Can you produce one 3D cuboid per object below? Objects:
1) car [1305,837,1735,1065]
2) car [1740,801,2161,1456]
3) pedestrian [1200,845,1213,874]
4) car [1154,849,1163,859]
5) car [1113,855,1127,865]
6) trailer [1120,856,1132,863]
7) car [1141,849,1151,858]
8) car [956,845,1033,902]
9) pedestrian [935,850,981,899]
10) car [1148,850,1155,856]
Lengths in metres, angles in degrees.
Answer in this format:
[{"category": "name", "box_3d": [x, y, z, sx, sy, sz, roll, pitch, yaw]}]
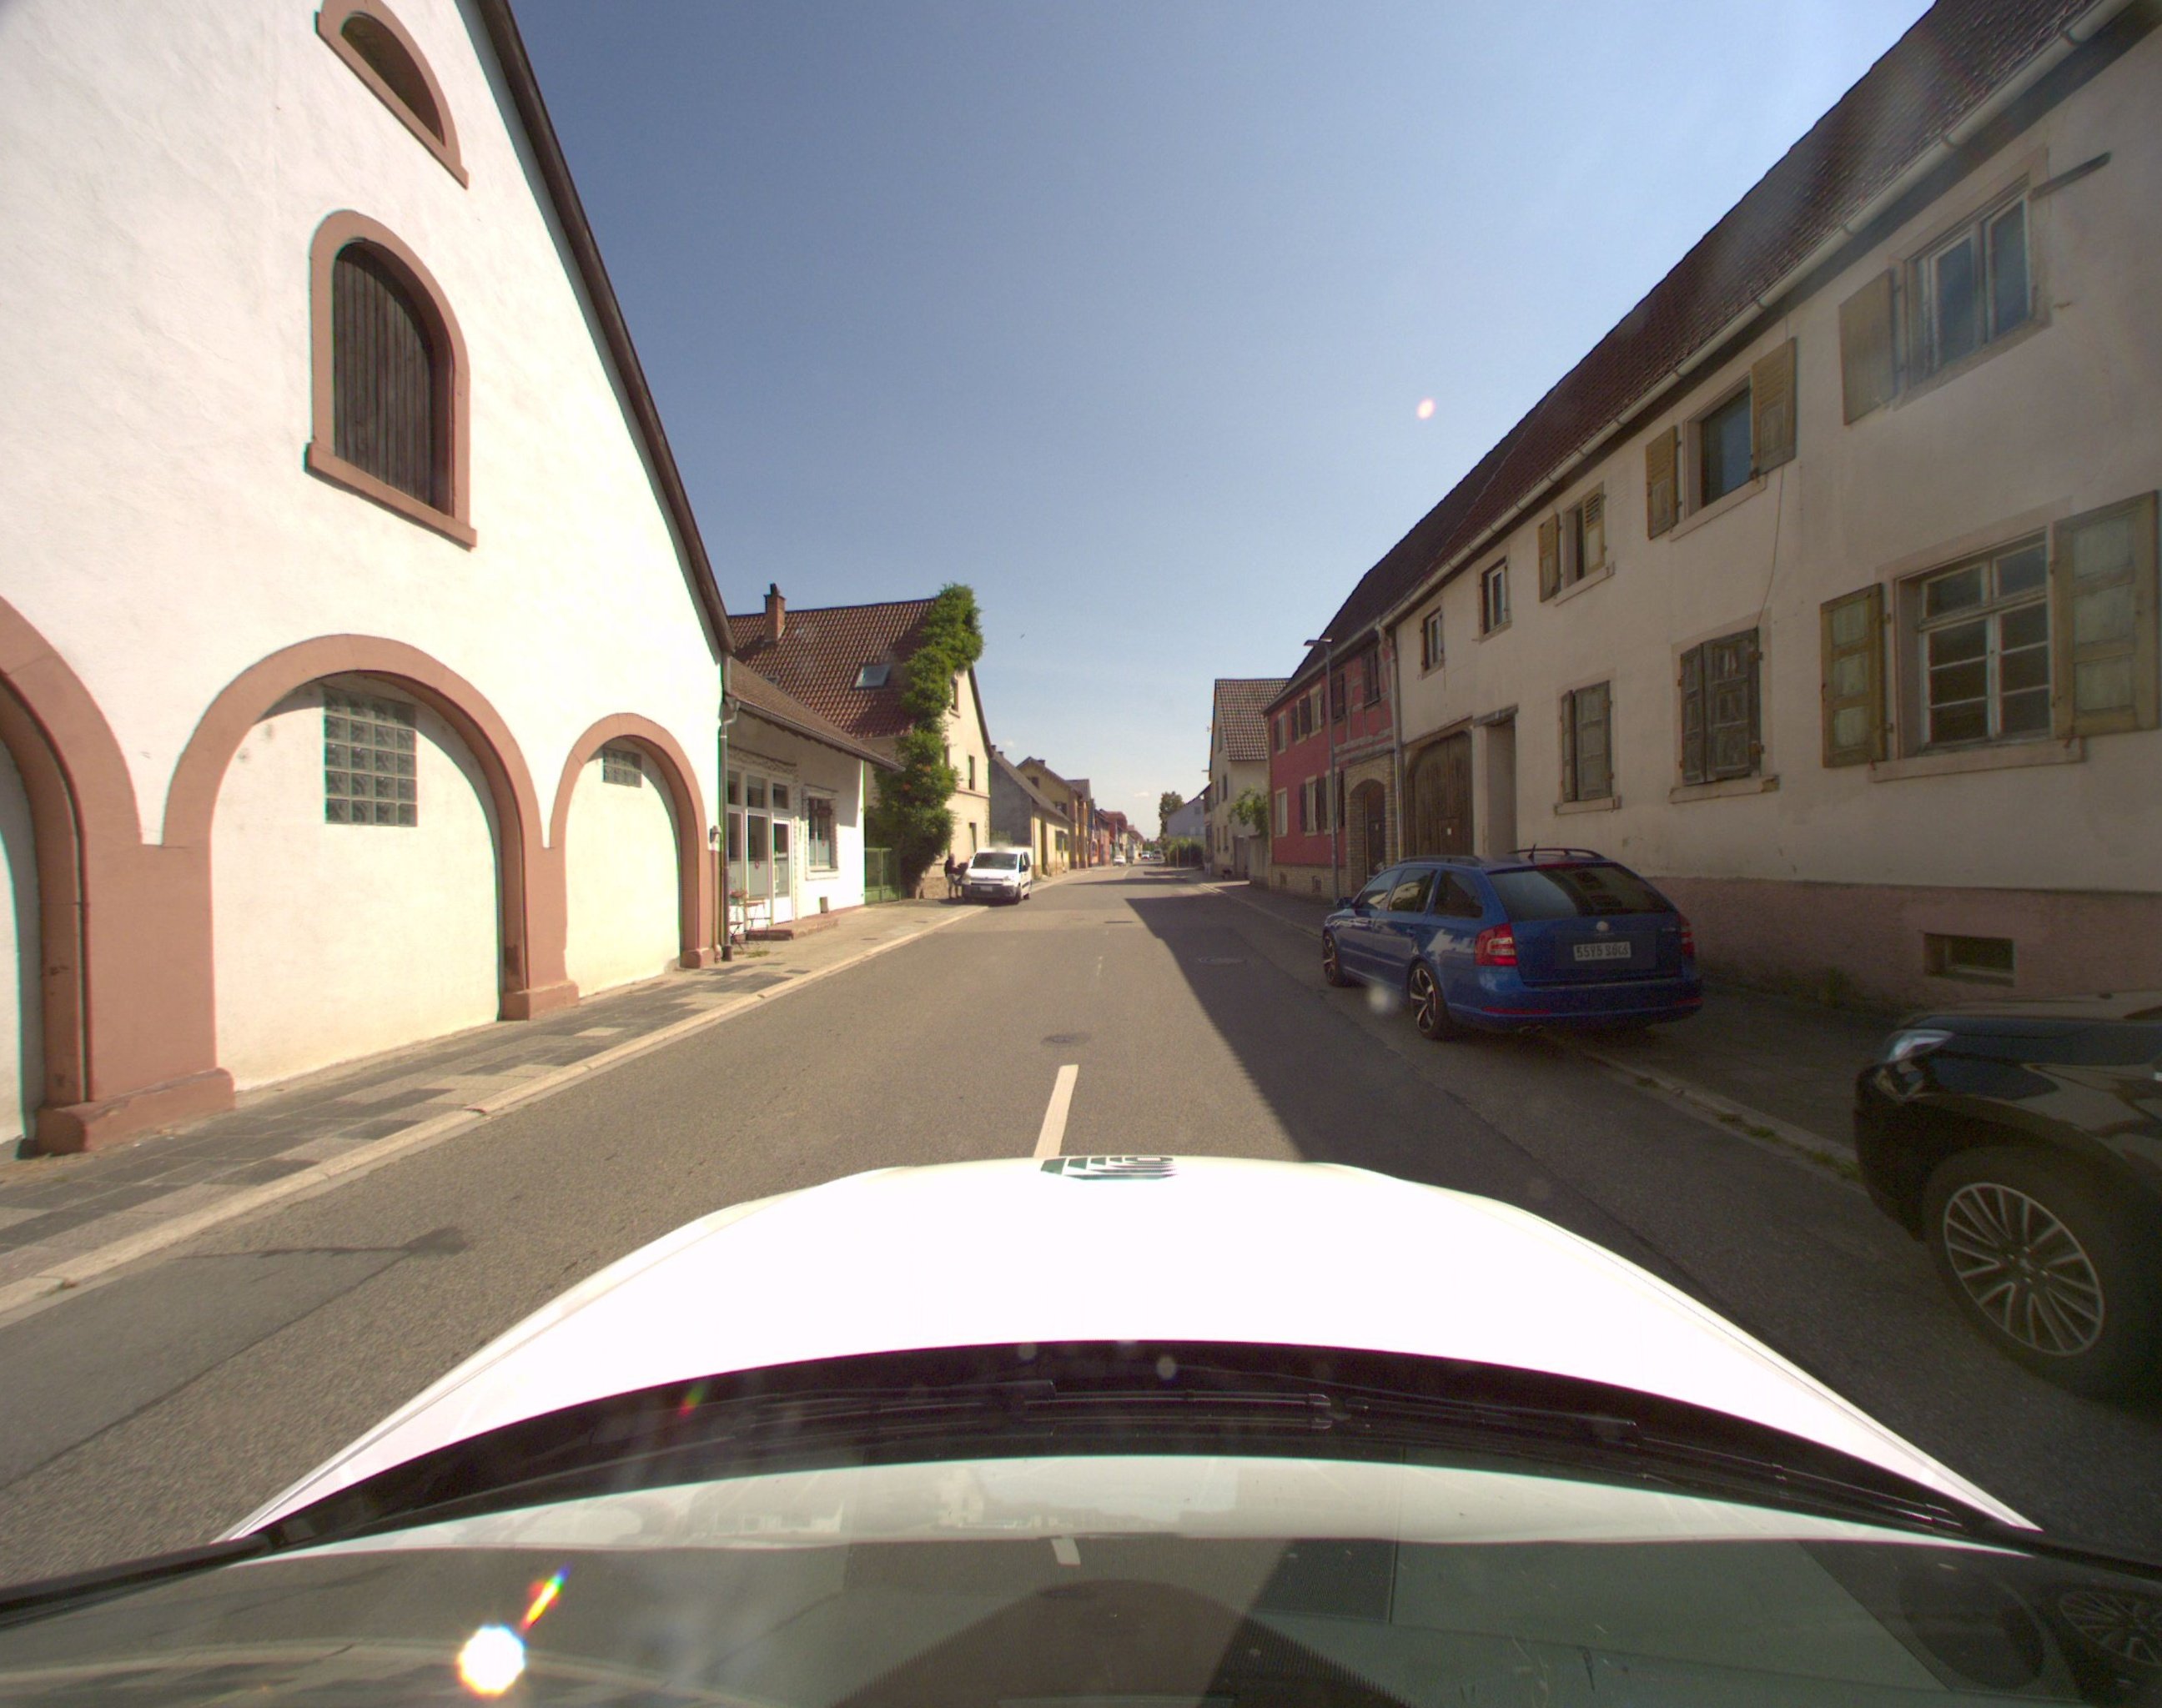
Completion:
[{"category": "car", "box_3d": [3.570, 0.657, 7.706, 1.693, 1.469, 4.410, -2, 0, 1]}, {"category": "car", "box_3d": [3.411, 0.630, 1.168, 1.693, 1.584, 4.028, -2, 0, 1]}, {"category": "pedestrian", "box_3d": [7.374, 0.316, 47.843, 0.715, 1.664, 0.894, -1, 0, 7]}, {"category": "car", "box_3d": [19.527, -0.018, 205.444, 2.008, 2.567, 4.004, -2, 0, 4]}, {"category": "car", "box_3d": [5.766, 0.891, 120.847, 1.984, 1.442, 4.005, -2, 0, 4]}, {"category": "trailer", "box_3d": [7.617, 0.962, 137.558, 1.985, 1.090, 4.003, -1, 0, 3]}, {"category": "car", "box_3d": [15.861, -0.112, 198.716, 2.149, 2.080, 4.003, -2, -2, 3]}, {"category": "car", "box_3d": [-2.676, 0.570, 26.291, 1.848, 1.647, 4.431, 1, 0, 2]}, {"category": "pedestrian", "box_3d": [-4.012, 0.654, 26.641, 1.145, 1.552, 1.005, 0, 0, -37]}, {"category": "car", "box_3d": [21.748, -0.350, 251.583, 1.984, 1.750, 4.005, -1, 0, 5]}]
